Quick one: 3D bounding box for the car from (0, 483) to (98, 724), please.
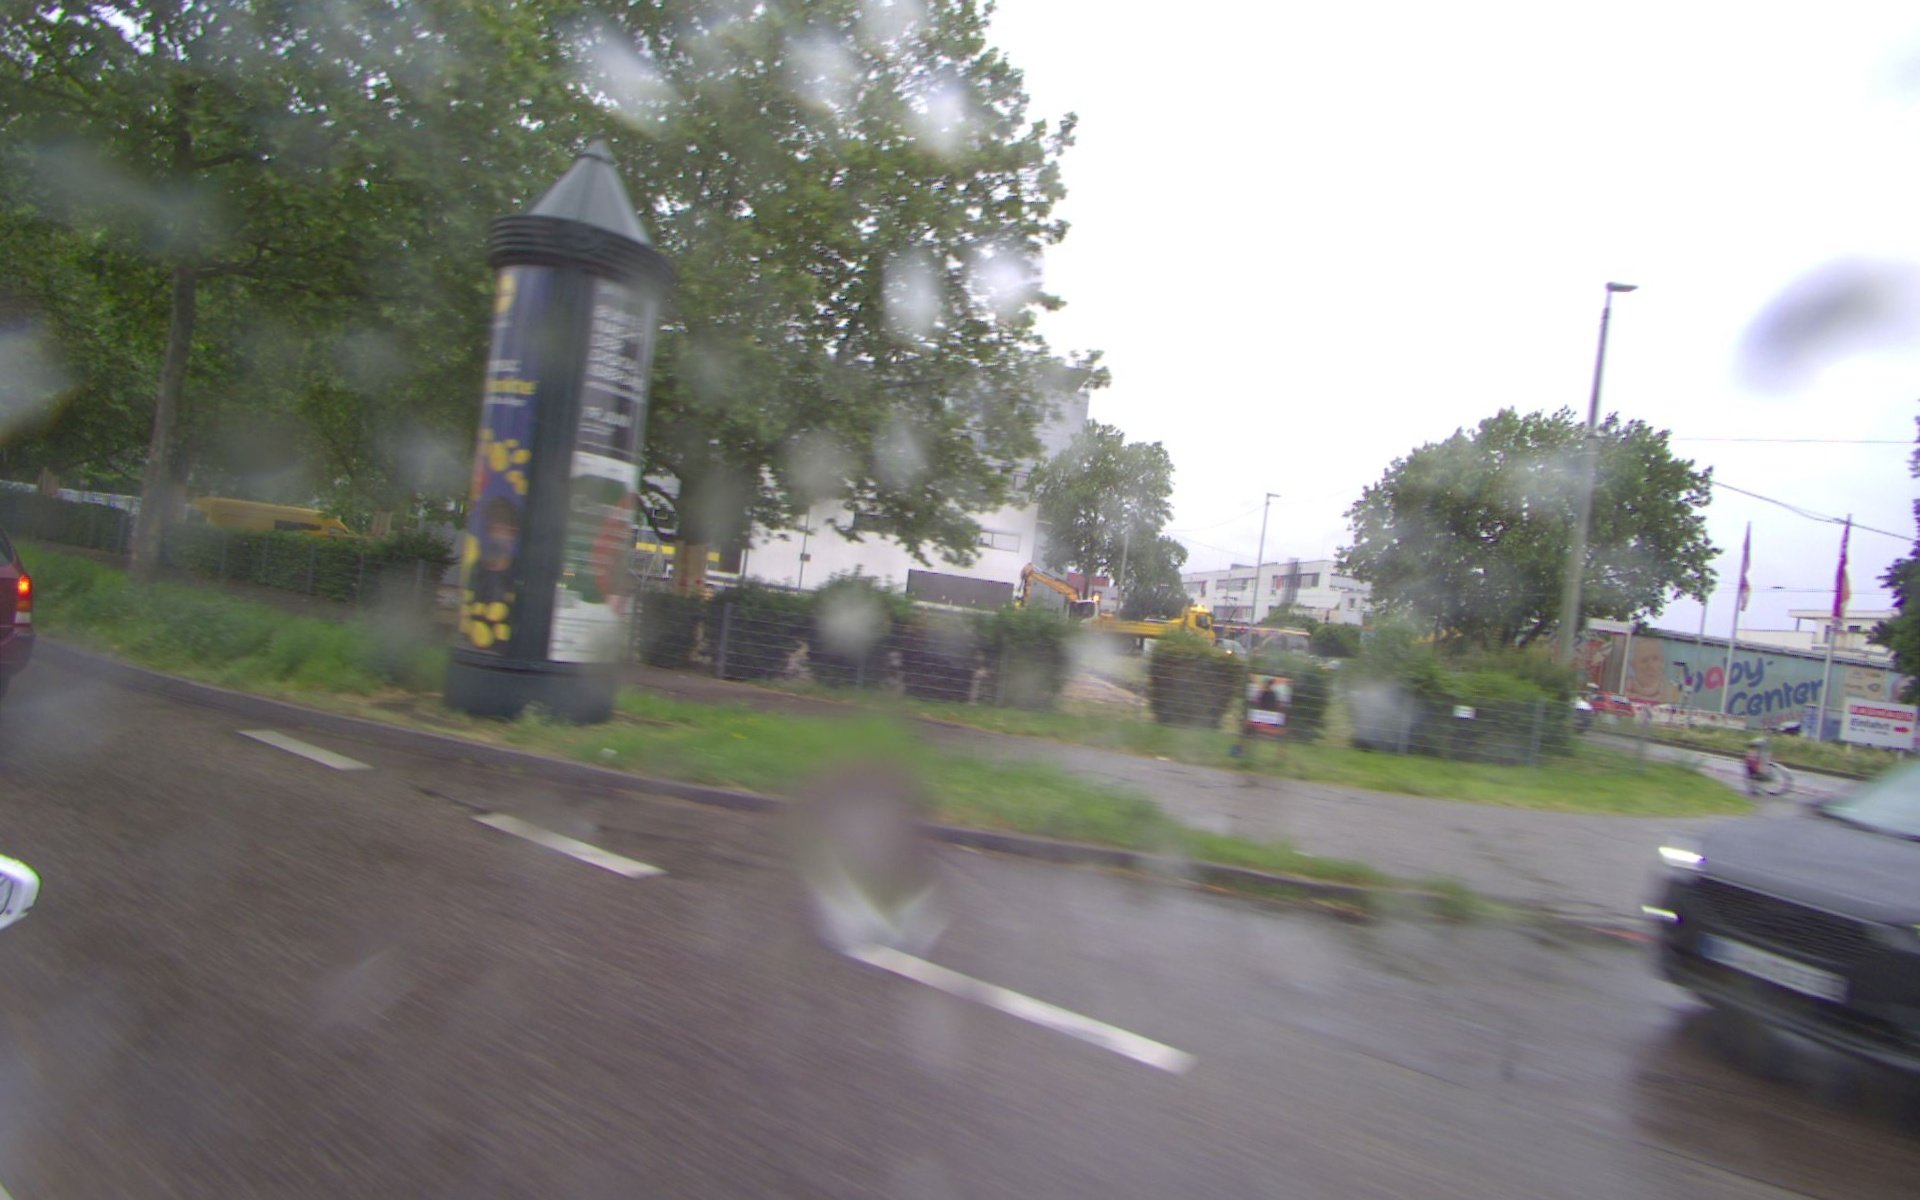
[{"bbox_3d":[-8.174,-0.230,7.129,4.043,1.554,1.843,7,-2,31],"label":"car"}]

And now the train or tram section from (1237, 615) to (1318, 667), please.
[{"bbox_3d":[24.312,3.115,77.589,2.358,3.560,8.368,7,-2,-6],"label":"train or tram section"}]

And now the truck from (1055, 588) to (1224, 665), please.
[{"bbox_3d":[10.604,1.598,59.909,9.300,3.384,2.497,7,-1,-4],"label":"truck"}]

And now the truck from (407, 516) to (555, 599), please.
[{"bbox_3d":[-23.441,-1.916,49.996,3.026,3.066,9.503,7,-2,-4],"label":"truck"}]

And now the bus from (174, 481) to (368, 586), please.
[{"bbox_3d":[-23.012,-2.159,33.809,1.967,2.678,4.800,7,-1,33],"label":"bus"}]

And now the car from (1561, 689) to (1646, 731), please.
[{"bbox_3d":[34.839,5.938,54.571,1.775,1.799,3.781,7,-2,-5],"label":"car"}]

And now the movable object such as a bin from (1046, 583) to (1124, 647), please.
[{"bbox_3d":[8.232,0.954,66.280,3.566,3.670,3.301,7,0,-23],"label":"movable object such as a bin"}]

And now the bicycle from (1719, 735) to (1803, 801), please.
[{"bbox_3d":[15.019,3.128,18.853,1.612,1.051,0.804,7,0,-38],"label":"bicycle"}]

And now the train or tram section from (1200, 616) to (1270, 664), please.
[{"bbox_3d":[23.345,3.373,85.965,2.358,3.560,8.528,7,-2,-6],"label":"train or tram section"}]

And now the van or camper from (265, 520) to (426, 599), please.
[{"bbox_3d":[-20.081,-1.275,33.051,1.770,1.929,3.998,8,-2,27],"label":"van or camper"}]

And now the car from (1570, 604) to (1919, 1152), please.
[{"bbox_3d":[5.886,1.368,5.137,4.684,2.082,1.925,7,0,-17],"label":"car"}]

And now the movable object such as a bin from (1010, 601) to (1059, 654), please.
[{"bbox_3d":[3.767,1.387,50.511,1.975,2.384,3.284,7,0,9],"label":"movable object such as a bin"}]

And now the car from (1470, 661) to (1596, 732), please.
[{"bbox_3d":[20.541,3.417,36.275,1.963,2.114,4.233,7,-2,1],"label":"car"}]

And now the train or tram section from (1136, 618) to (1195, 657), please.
[{"bbox_3d":[21.226,3.833,104.623,2.358,3.560,10.844,7,-2,-6],"label":"train or tram section"}]
